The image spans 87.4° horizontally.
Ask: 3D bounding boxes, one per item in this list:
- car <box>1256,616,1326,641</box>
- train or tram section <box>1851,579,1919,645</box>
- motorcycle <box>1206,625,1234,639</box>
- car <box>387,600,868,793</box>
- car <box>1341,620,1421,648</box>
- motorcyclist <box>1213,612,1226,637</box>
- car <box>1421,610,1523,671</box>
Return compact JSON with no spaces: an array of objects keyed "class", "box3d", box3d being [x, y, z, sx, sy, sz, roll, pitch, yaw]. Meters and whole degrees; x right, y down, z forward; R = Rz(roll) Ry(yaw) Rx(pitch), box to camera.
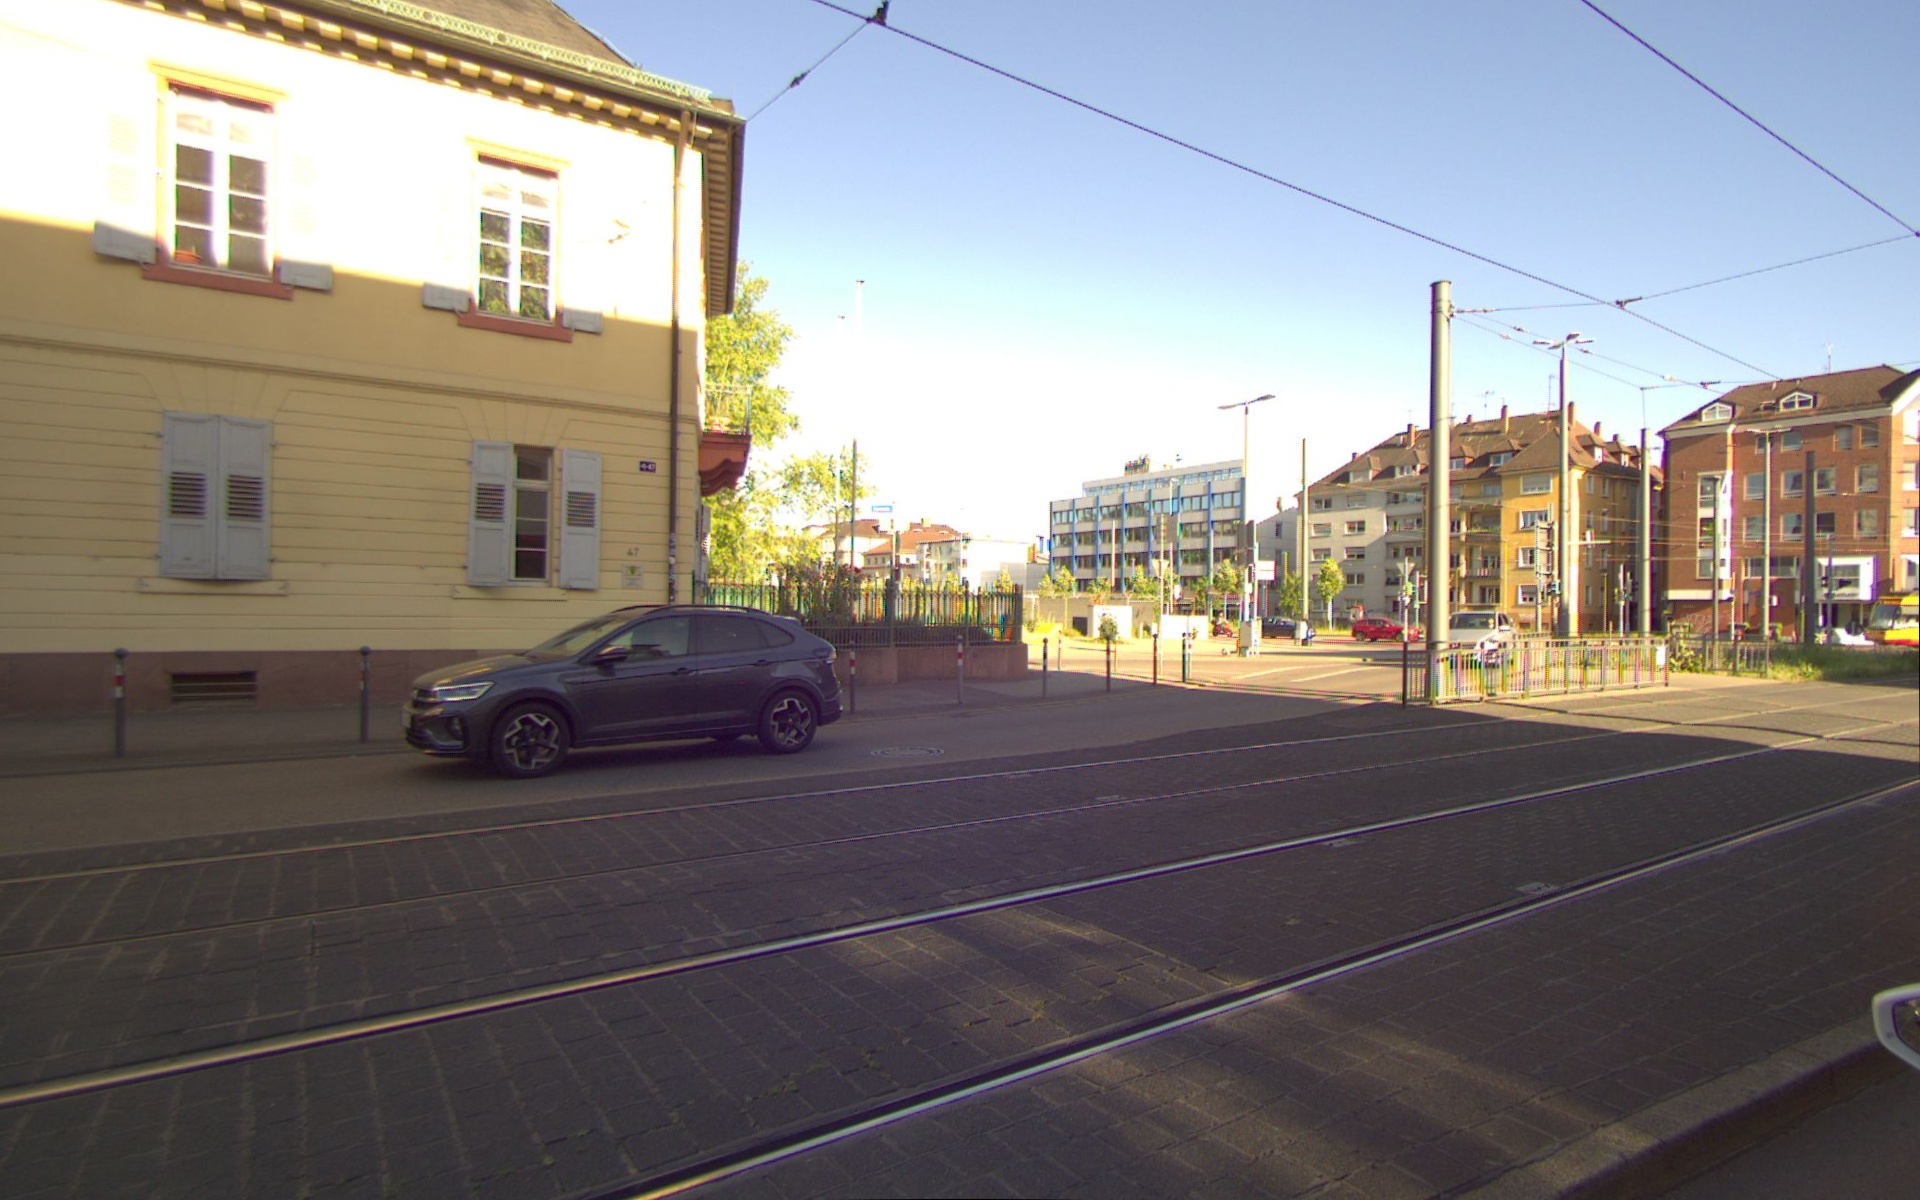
[{"class":"car","box3d":[22.232,1.887,67.577,1.923,1.510,4.111,1,1,-40]},{"class":"train or tram section","box3d":[60.673,0.897,58.511,13.905,3.765,2.684,2,1,7]},{"class":"motorcycle","box3d":[18.568,2.260,71.743,0.556,0.905,1.982,1,1,-38]},{"class":"car","box3d":[-3.177,0.809,10.068,4.243,1.532,1.750,1,0,-39]},{"class":"car","box3d":[25.824,2.050,61.668,1.923,1.510,4.111,1,0,-40]},{"class":"motorcyclist","box3d":[18.550,1.728,71.761,0.385,1.731,0.775,1,2,-38]},{"class":"car","box3d":[14.435,1.087,28.199,1.760,1.589,4.274,-1,-1,38]}]
